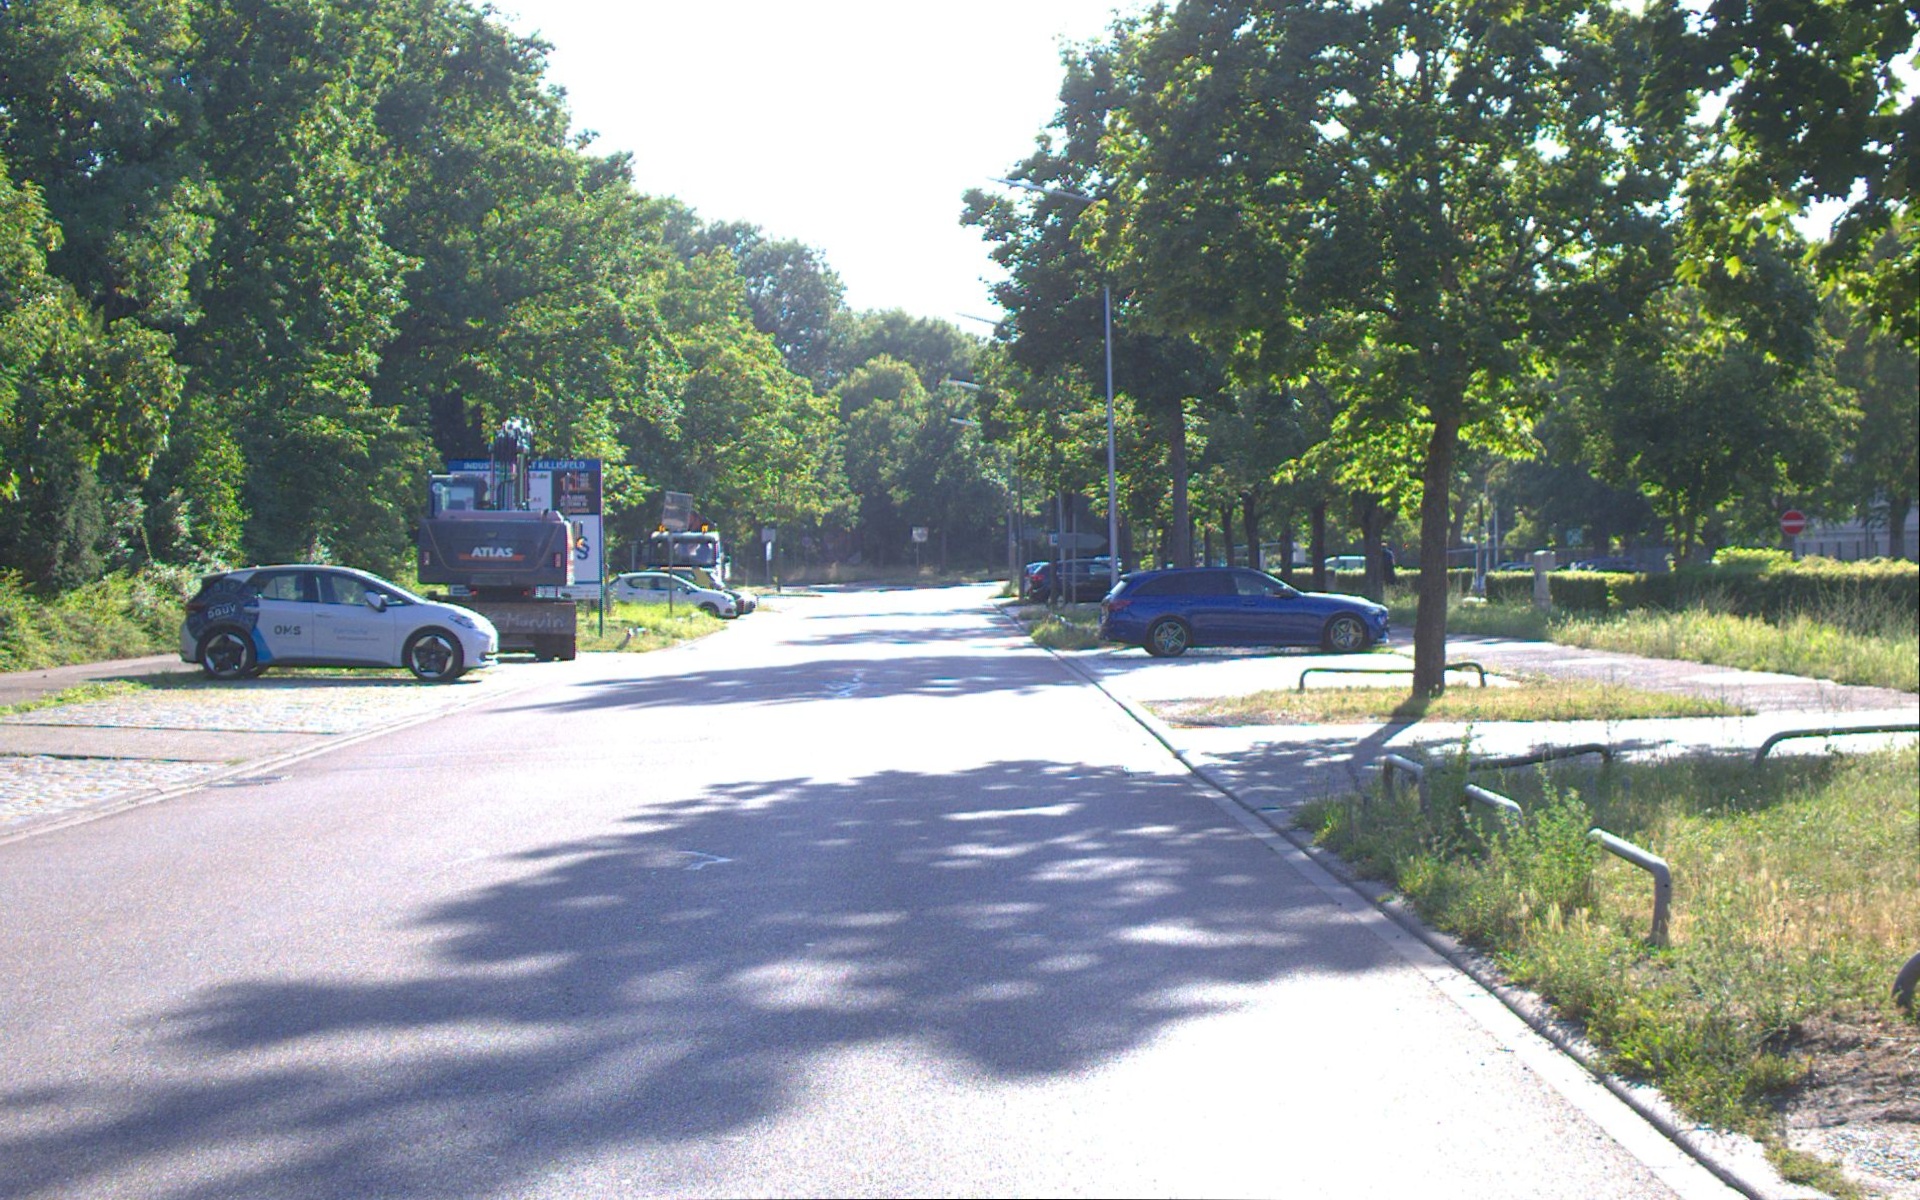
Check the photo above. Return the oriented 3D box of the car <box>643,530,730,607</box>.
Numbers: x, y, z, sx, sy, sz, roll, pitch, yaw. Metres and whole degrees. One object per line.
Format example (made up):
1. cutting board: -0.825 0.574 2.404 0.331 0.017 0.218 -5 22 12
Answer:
1. car: -8.690 -1.000 109.006 2.516 2.378 4.374 -1 1 -7

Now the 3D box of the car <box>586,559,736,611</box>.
1. car: -8.907 -0.461 102.310 4.357 1.474 2.000 -1 1 -7

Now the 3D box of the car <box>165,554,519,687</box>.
1. car: -8.350 0.259 46.723 4.358 1.542 2.000 3 1 1

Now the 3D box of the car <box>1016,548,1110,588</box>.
1. car: 4.460 -1.396 149.128 3.987 1.675 2.000 -1 1 -1

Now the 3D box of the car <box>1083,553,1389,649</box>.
1. car: 4.462 0.000 56.175 4.841 1.474 2.000 -1 1 1

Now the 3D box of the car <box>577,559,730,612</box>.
1. car: -8.903 -0.425 99.642 4.357 1.474 2.000 -1 1 -7

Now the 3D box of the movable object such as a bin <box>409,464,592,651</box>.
1. movable object such as a bin: -7.887 -0.736 59.501 2.838 3.058 4.928 -1 1 -5

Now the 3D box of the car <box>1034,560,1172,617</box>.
1. car: 4.643 -0.393 112.325 4.358 1.723 2.000 1 1 -1
